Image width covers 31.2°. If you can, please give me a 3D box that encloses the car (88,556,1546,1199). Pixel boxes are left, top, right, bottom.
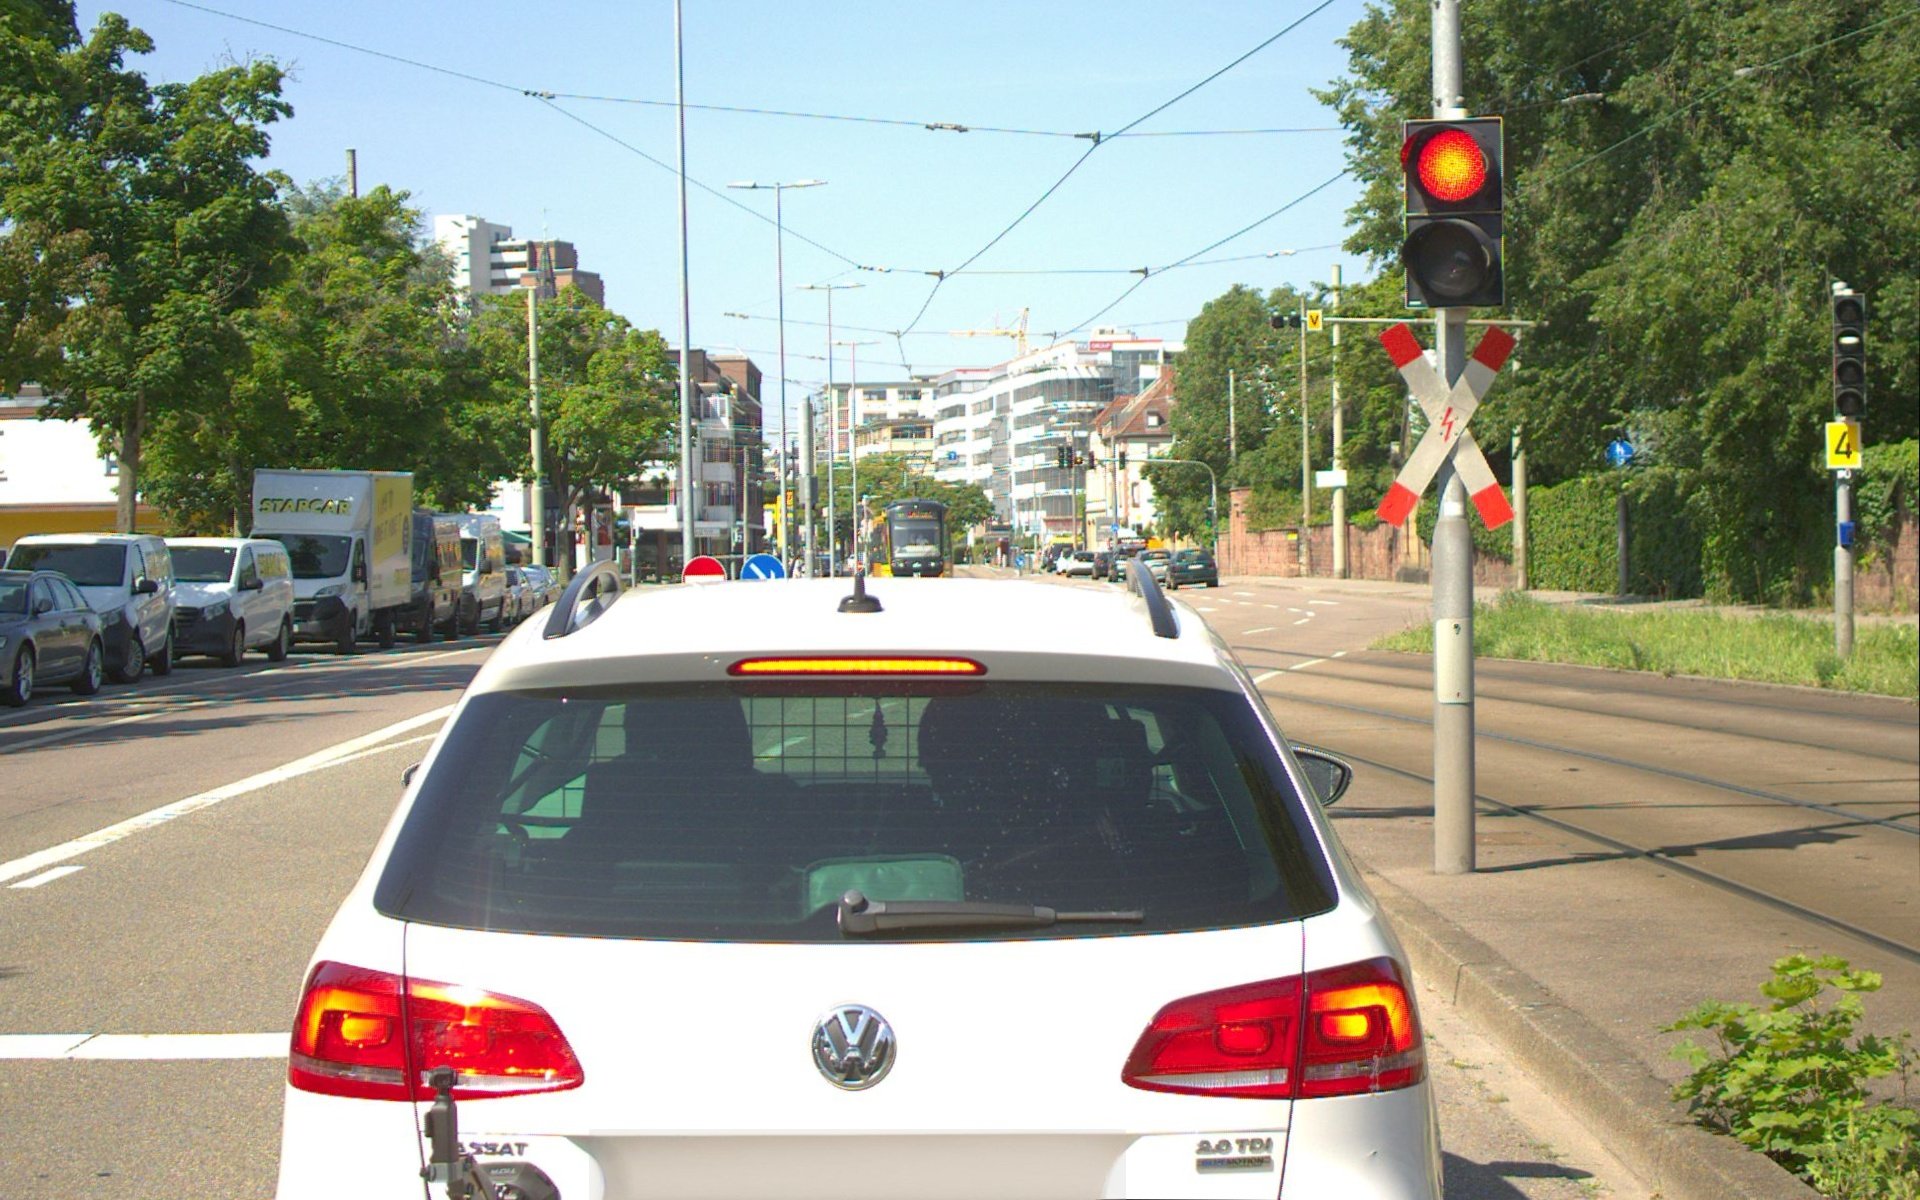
[{"bbox_3d":[-0.186,0.669,6.204,1.762,1.425,4.000,-1,1,-1],"label":"car"}]

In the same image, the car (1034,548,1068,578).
[{"bbox_3d":[5.882,-2.399,222.501,1.863,1.861,5.062,1,1,-1],"label":"car"}]

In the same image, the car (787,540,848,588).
[{"bbox_3d":[-4.623,-1.188,112.259,1.705,1.468,4.589,-2,1,1],"label":"car"}]

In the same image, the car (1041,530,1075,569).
[{"bbox_3d":[7.043,-3.657,246.968,2.056,2.750,5.632,1,1,-1],"label":"car"}]

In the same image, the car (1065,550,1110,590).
[{"bbox_3d":[6.308,-1.503,170.372,1.863,1.861,5.062,1,1,-1],"label":"car"}]

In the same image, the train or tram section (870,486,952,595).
[{"bbox_3d":[-1.840,-2.256,129.585,2.870,3.842,12.392,-1,1,-1],"label":"train or tram section"}]

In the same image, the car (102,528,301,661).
[{"bbox_3d":[-11.372,-0.130,51.920,1.863,1.861,5.414,1,1,-1],"label":"car"}]

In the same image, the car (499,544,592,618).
[{"bbox_3d":[-11.024,-0.533,91.703,1.863,1.861,5.414,1,1,-1],"label":"car"}]

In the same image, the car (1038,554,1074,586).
[{"bbox_3d":[5.802,-1.840,208.024,1.863,1.861,5.062,1,1,-1],"label":"car"}]

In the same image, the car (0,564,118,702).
[{"bbox_3d":[-10.909,0.325,38.682,1.863,1.411,4.280,1,1,-1],"label":"car"}]

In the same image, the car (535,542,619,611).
[{"bbox_3d":[-10.944,-0.700,98.619,1.863,1.861,5.414,1,1,-1],"label":"car"}]

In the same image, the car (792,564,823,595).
[{"bbox_3d":[-9.571,-1.288,216.039,1.762,1.889,4.914,1,1,-1],"label":"car"}]

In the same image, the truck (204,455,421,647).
[{"bbox_3d":[-11.255,-0.875,60.334,2.421,3.139,6.997,1,1,0],"label":"truck"}]

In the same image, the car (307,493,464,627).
[{"bbox_3d":[-11.360,-0.816,68.336,2.123,2.508,5.733,1,1,0],"label":"car"}]

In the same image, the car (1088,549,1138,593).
[{"bbox_3d":[6.806,-1.320,153.612,1.863,1.861,5.062,1,1,-1],"label":"car"}]

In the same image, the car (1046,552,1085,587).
[{"bbox_3d":[5.917,-1.739,193.781,1.863,1.861,5.062,1,1,-1],"label":"car"}]

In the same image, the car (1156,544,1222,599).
[{"bbox_3d":[8.165,-1.034,123.002,1.863,1.861,5.062,1,1,-1],"label":"car"}]

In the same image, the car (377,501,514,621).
[{"bbox_3d":[-11.284,-0.887,75.773,2.123,2.508,5.733,1,1,0],"label":"car"}]

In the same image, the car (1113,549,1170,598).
[{"bbox_3d":[7.243,-1.092,137.701,1.863,1.861,5.062,1,1,-1],"label":"car"}]

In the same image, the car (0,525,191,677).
[{"bbox_3d":[-11.407,-0.034,45.337,1.863,1.861,5.075,1,1,-6],"label":"car"}]
